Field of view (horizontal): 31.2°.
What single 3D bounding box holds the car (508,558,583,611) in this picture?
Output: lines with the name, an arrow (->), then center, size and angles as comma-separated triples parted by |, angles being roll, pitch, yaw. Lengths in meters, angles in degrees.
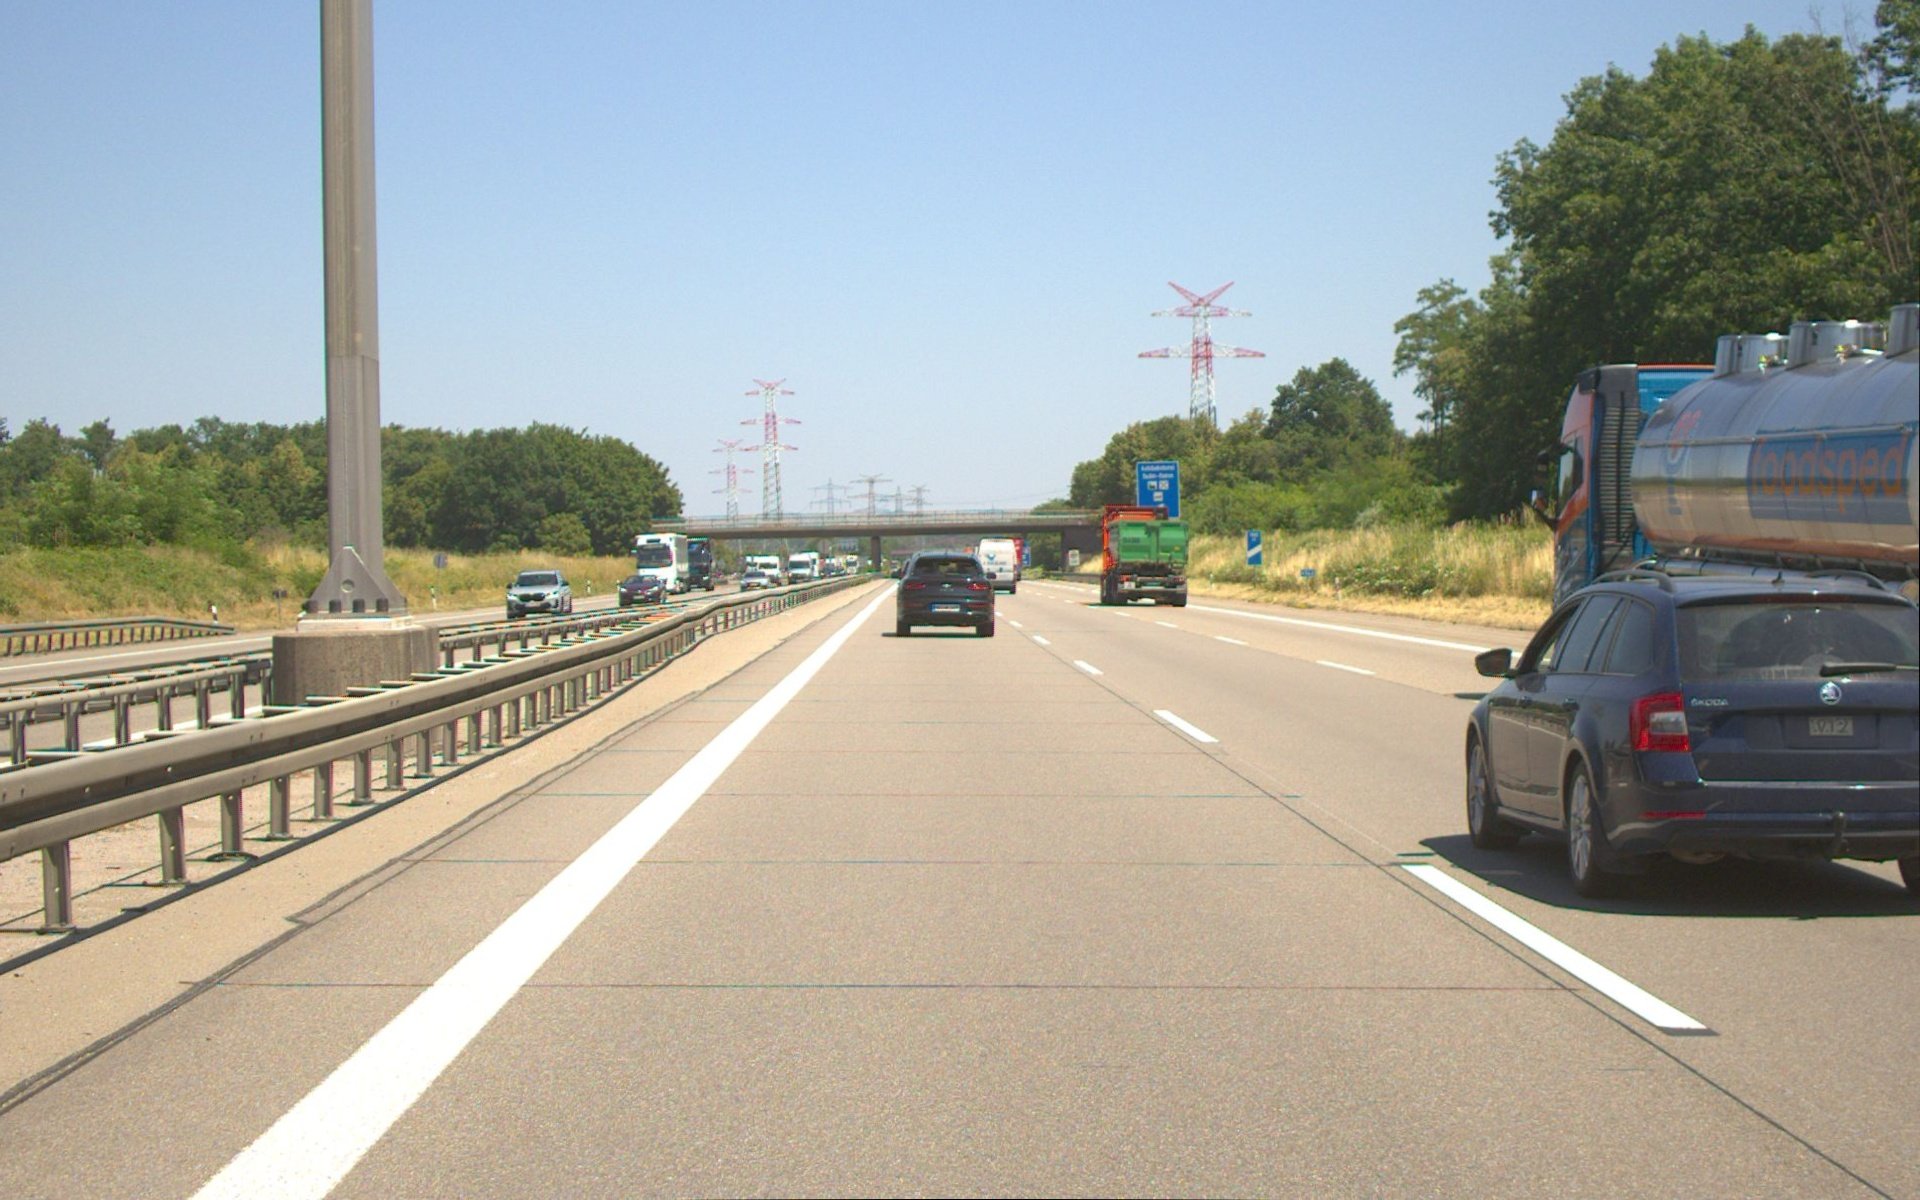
car -> -14.114, -0.539, 117.264 | 1.962, 1.712, 5.291 | -2, 1, -1

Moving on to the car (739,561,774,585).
car -> -13.025, -1.748, 220.442 | 1.962, 1.424, 5.291 | -2, 1, -1

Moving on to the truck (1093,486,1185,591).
truck -> 6.708, -2.292, 130.470 | 2.681, 3.785, 12.479 | 1, 1, 0

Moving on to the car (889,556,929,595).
car -> -2.358, -1.148, 159.619 | 1.794, 1.744, 4.000 | 1, 1, -1

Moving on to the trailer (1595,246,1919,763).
trailer -> 8.060, -0.736, 30.530 | 2.529, 3.721, 11.549 | 1, 1, -1

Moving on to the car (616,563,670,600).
car -> -14.006, -0.845, 152.121 | 1.962, 1.520, 5.291 | -2, 1, -1

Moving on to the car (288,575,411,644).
car -> -13.480, 0.184, 76.162 | 1.806, 1.391, 4.480 | -2, 1, 1

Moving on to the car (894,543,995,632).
car -> -0.333, -0.277, 70.625 | 1.993, 1.744, 4.000 | 1, 1, -1

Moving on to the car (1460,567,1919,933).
car -> 3.625, 0.600, 16.231 | 1.801, 1.478, 4.272 | 1, 1, -1

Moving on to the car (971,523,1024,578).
car -> 1.905, -2.531, 176.873 | 2.621, 2.750, 6.096 | 1, 1, 0

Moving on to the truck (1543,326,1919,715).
truck -> 7.997, -0.804, 36.329 | 2.529, 3.721, 6.099 | 1, 1, -1
